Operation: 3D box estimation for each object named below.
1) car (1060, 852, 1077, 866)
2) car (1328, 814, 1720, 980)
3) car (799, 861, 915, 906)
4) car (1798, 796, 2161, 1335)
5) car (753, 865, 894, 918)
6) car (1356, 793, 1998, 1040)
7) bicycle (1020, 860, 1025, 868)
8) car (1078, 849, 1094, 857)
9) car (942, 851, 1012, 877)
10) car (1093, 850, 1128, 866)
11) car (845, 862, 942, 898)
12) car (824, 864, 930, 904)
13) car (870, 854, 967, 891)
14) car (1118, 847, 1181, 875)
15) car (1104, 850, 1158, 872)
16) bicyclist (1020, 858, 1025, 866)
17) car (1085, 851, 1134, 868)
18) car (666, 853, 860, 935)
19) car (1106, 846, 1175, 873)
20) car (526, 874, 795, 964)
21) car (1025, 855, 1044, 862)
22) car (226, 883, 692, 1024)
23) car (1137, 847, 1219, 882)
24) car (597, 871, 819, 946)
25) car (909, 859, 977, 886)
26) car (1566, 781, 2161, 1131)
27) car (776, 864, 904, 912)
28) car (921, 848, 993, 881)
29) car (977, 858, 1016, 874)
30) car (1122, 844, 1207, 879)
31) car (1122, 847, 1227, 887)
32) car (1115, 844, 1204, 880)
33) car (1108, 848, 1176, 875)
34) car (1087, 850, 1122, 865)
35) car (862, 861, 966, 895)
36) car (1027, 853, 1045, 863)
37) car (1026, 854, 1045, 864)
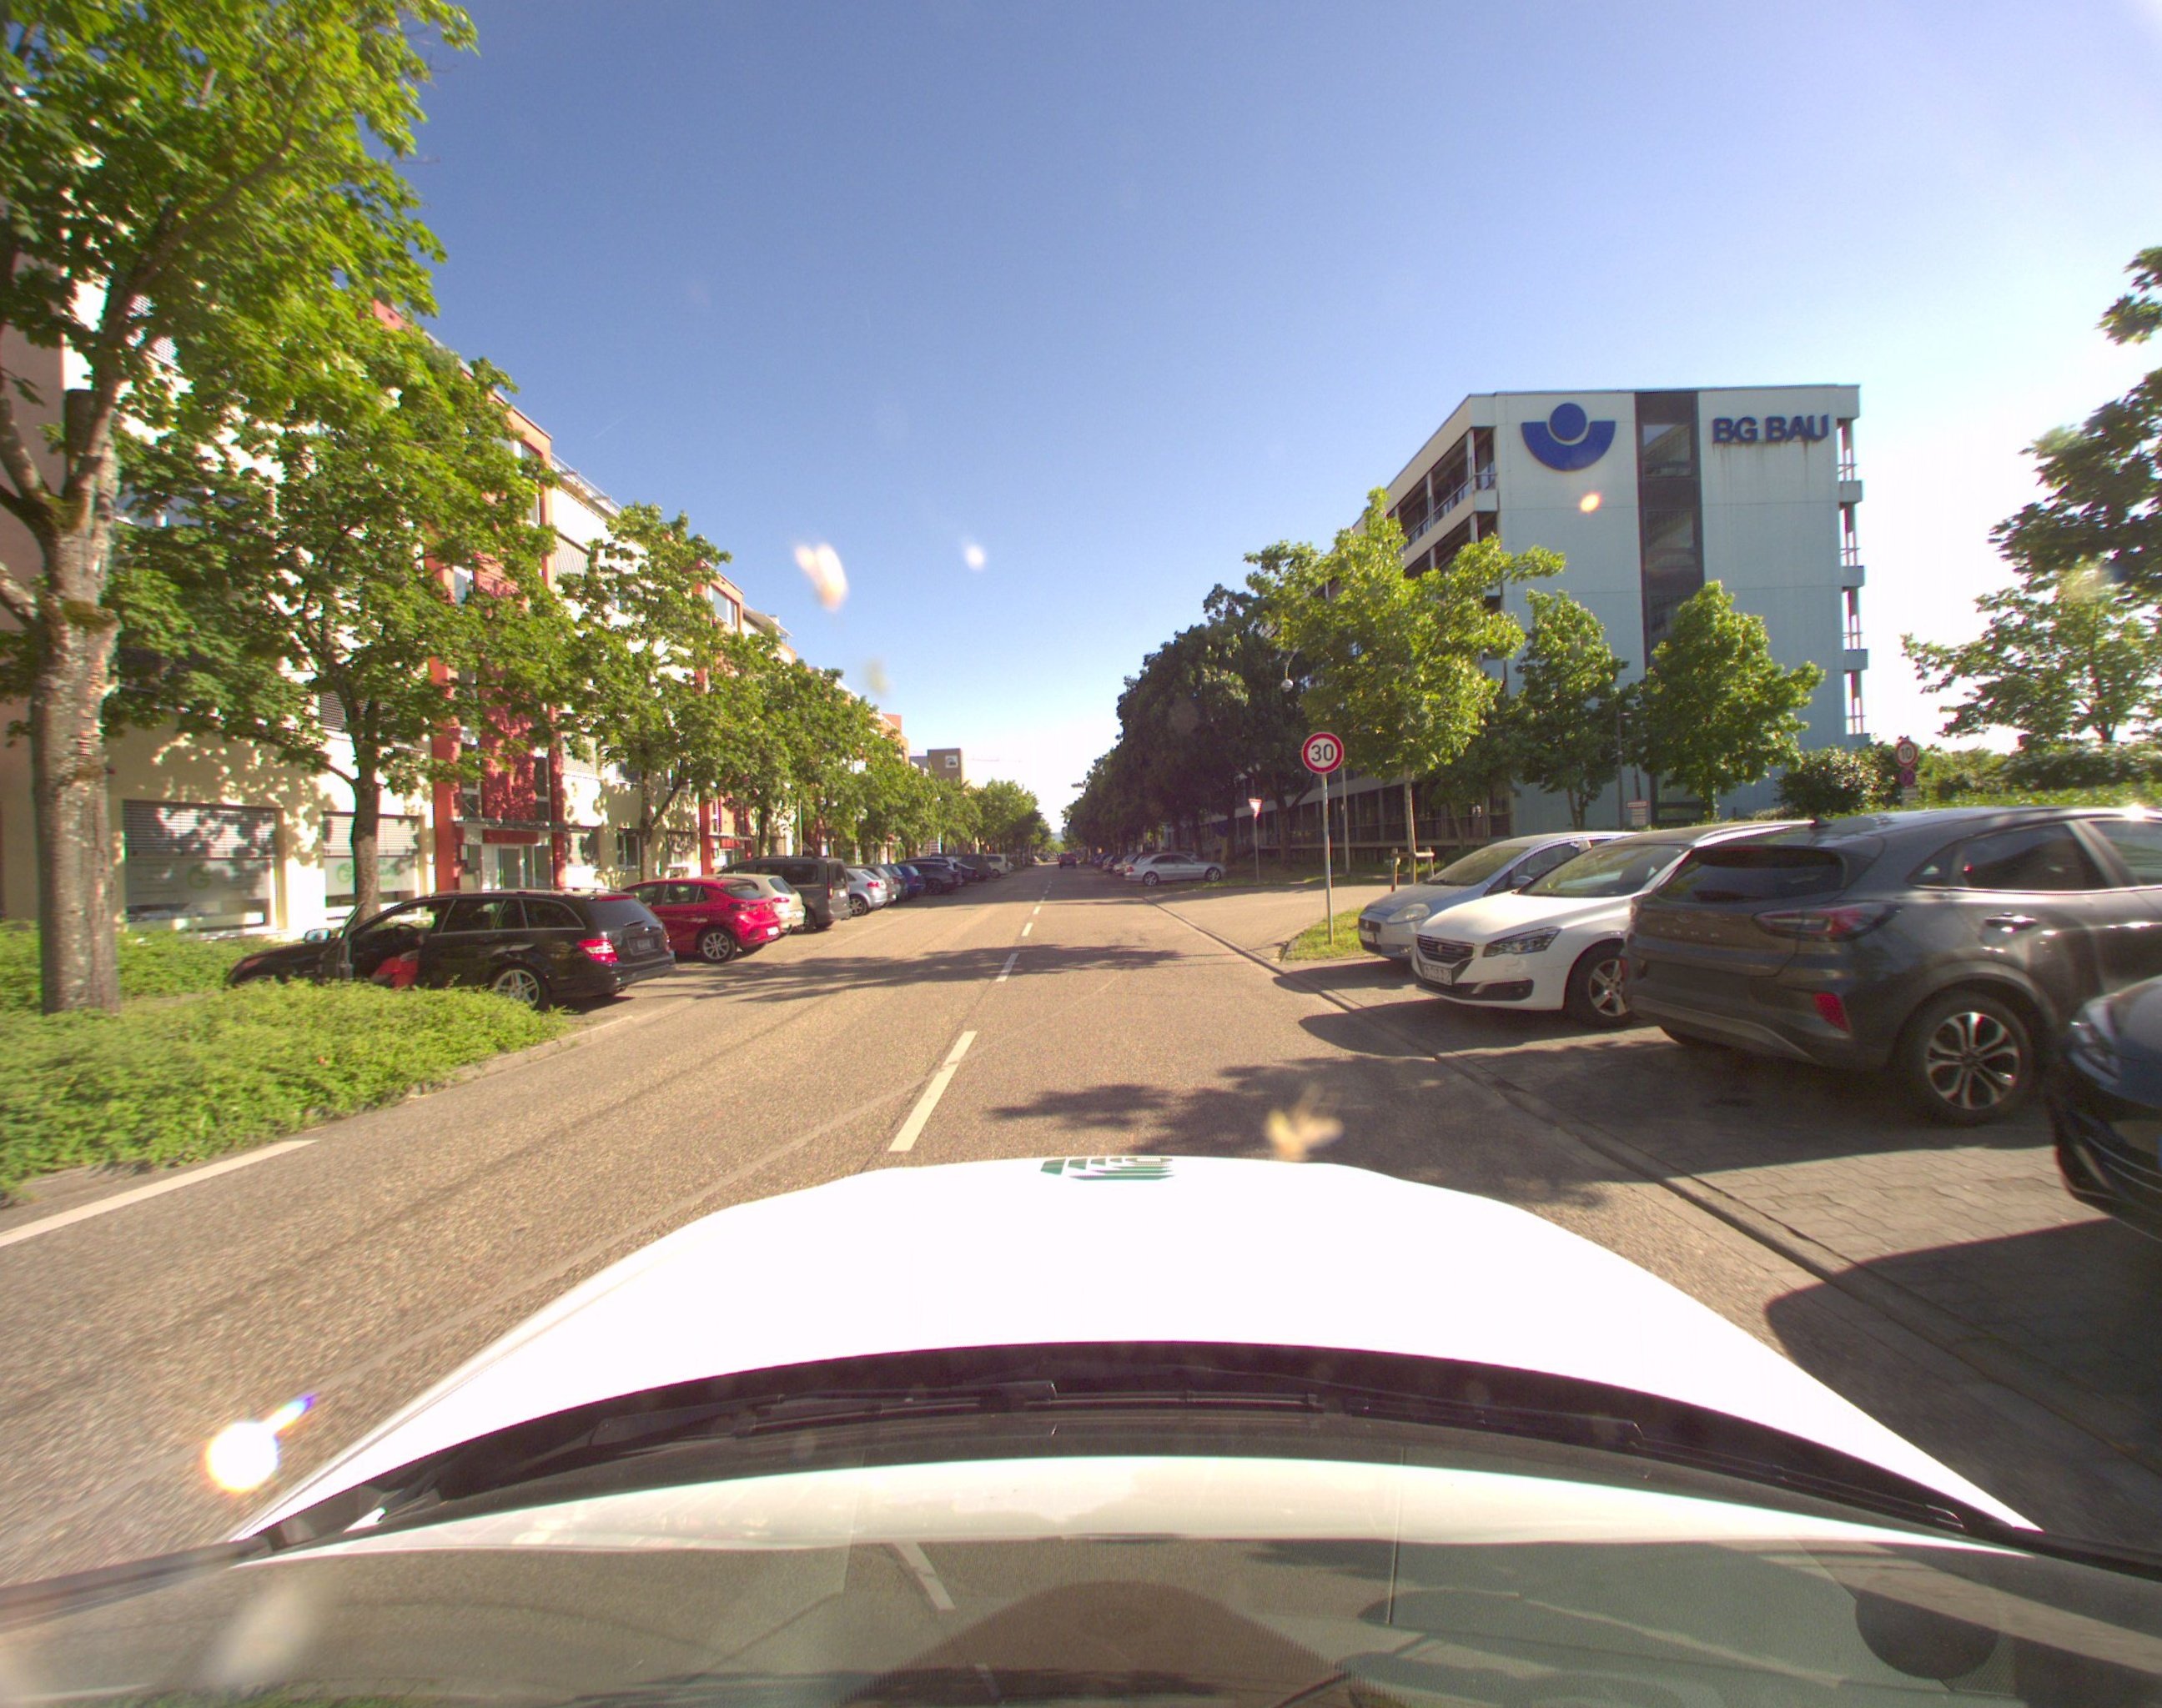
[{"bbox_3d":[-1.495,0.553,97.318,1.988,1.640,3.998,-1,0,-1],"label":"car"},{"bbox_3d":[5.343,0.481,10.088,3.945,1.515,1.697,-5,-1,-8],"label":"car"},{"bbox_3d":[-8.091,1.061,29.645,3.717,1.508,1.858,-1,0,-2],"label":"car"},{"bbox_3d":[5.319,0.434,2.361,4.536,1.515,2.157,-5,-1,-1],"label":"car"},{"bbox_3d":[-7.712,1.100,24.728,3.720,1.447,1.873,-1,0,-5],"label":"car"},{"bbox_3d":[5.163,0.466,7.422,4.546,1.515,1.977,-5,-1,-8],"label":"car"},{"bbox_3d":[-8.496,1.441,118.926,0.530,1.072,1.300,-3,0,2],"label":"bicycle"},{"bbox_3d":[1.418,-0.235,212.093,3.978,2.013,1.998,-3,0,-3],"label":"car"},{"bbox_3d":[-8.199,0.760,64.461,5.243,1.967,1.942,-1,0,-2],"label":"car"},{"bbox_3d":[3.367,0.405,93.186,3.937,1.514,1.812,-4,0,0],"label":"car"},{"bbox_3d":[-7.957,1.072,34.789,3.717,1.427,1.771,-1,0,-2],"label":"car"},{"bbox_3d":[-7.946,1.156,31.987,3.717,1.427,1.839,-1,0,-2],"label":"car"},{"bbox_3d":[-7.860,0.890,39.795,4.307,1.717,1.962,-1,0,-1],"label":"car"},{"bbox_3d":[4.413,0.467,52.676,3.738,1.493,1.614,-4,0,-6],"label":"car"},{"bbox_3d":[3.835,0.515,62.956,3.961,1.420,1.708,-4,0,-4],"label":"car"},{"bbox_3d":[-8.510,1.149,118.917,0.530,1.091,0.795,-3,0,2],"label":"bicyclist"},{"bbox_3d":[2.926,0.558,84.799,4.815,1.420,2.029,-4,0,-4],"label":"car"},{"bbox_3d":[-7.477,0.906,19.437,3.881,1.811,1.785,-1,0,-1],"label":"car"},{"bbox_3d":[4.169,0.404,57.433,4.579,1.493,1.762,-5,0,-2],"label":"car"},{"bbox_3d":[-7.395,1.115,14.628,3.881,1.423,1.738,-1,0,-1],"label":"car"},{"bbox_3d":[-9.609,0.919,167.483,3.845,1.473,1.808,-1,0,-8],"label":"car"},{"bbox_3d":[-7.220,1.127,9.750,4.246,1.423,1.740,-1,0,2],"label":"car"},{"bbox_3d":[4.780,0.509,40.591,3.822,1.447,1.923,-4,0,2],"label":"car"},{"bbox_3d":[-7.819,1.115,17.347,3.881,1.423,1.738,-1,0,-1],"label":"car"},{"bbox_3d":[-7.909,1.050,46.956,3.723,1.427,1.721,-1,0,-7],"label":"car"},{"bbox_3d":[5.403,0.428,4.885,3.864,1.515,1.750,-5,-1,-1],"label":"car"},{"bbox_3d":[-7.925,1.087,27.082,3.720,1.447,1.856,-1,0,-5],"label":"car"},{"bbox_3d":[-8.239,0.717,54.452,4.472,2.090,2.083,-1,0,0],"label":"car"},{"bbox_3d":[-8.973,1.275,86.876,3.977,1.486,1.805,-2,0,-3],"label":"car"},{"bbox_3d":[4.647,0.404,45.310,4.494,1.542,1.924,-4,0,4],"label":"car"},{"bbox_3d":[4.265,0.591,37.636,4.564,1.475,1.746,-4,0,-1],"label":"car"},{"bbox_3d":[4.089,0.406,42.946,4.497,1.542,1.923,-4,0,2],"label":"car"},{"bbox_3d":[4.110,0.520,55.089,4.278,1.493,2.001,-4,0,-5],"label":"car"},{"bbox_3d":[3.043,0.431,107.467,4.343,1.704,1.810,-4,0,-5],"label":"car"},{"bbox_3d":[-7.576,1.077,37.154,4.393,1.427,1.770,-1,0,-4],"label":"car"},{"bbox_3d":[-10.521,0.932,192.011,3.971,2.013,2.001,-3,0,2],"label":"car"},{"bbox_3d":[-10.496,1.086,188.944,3.971,2.013,2.001,-3,0,2],"label":"car"}]
